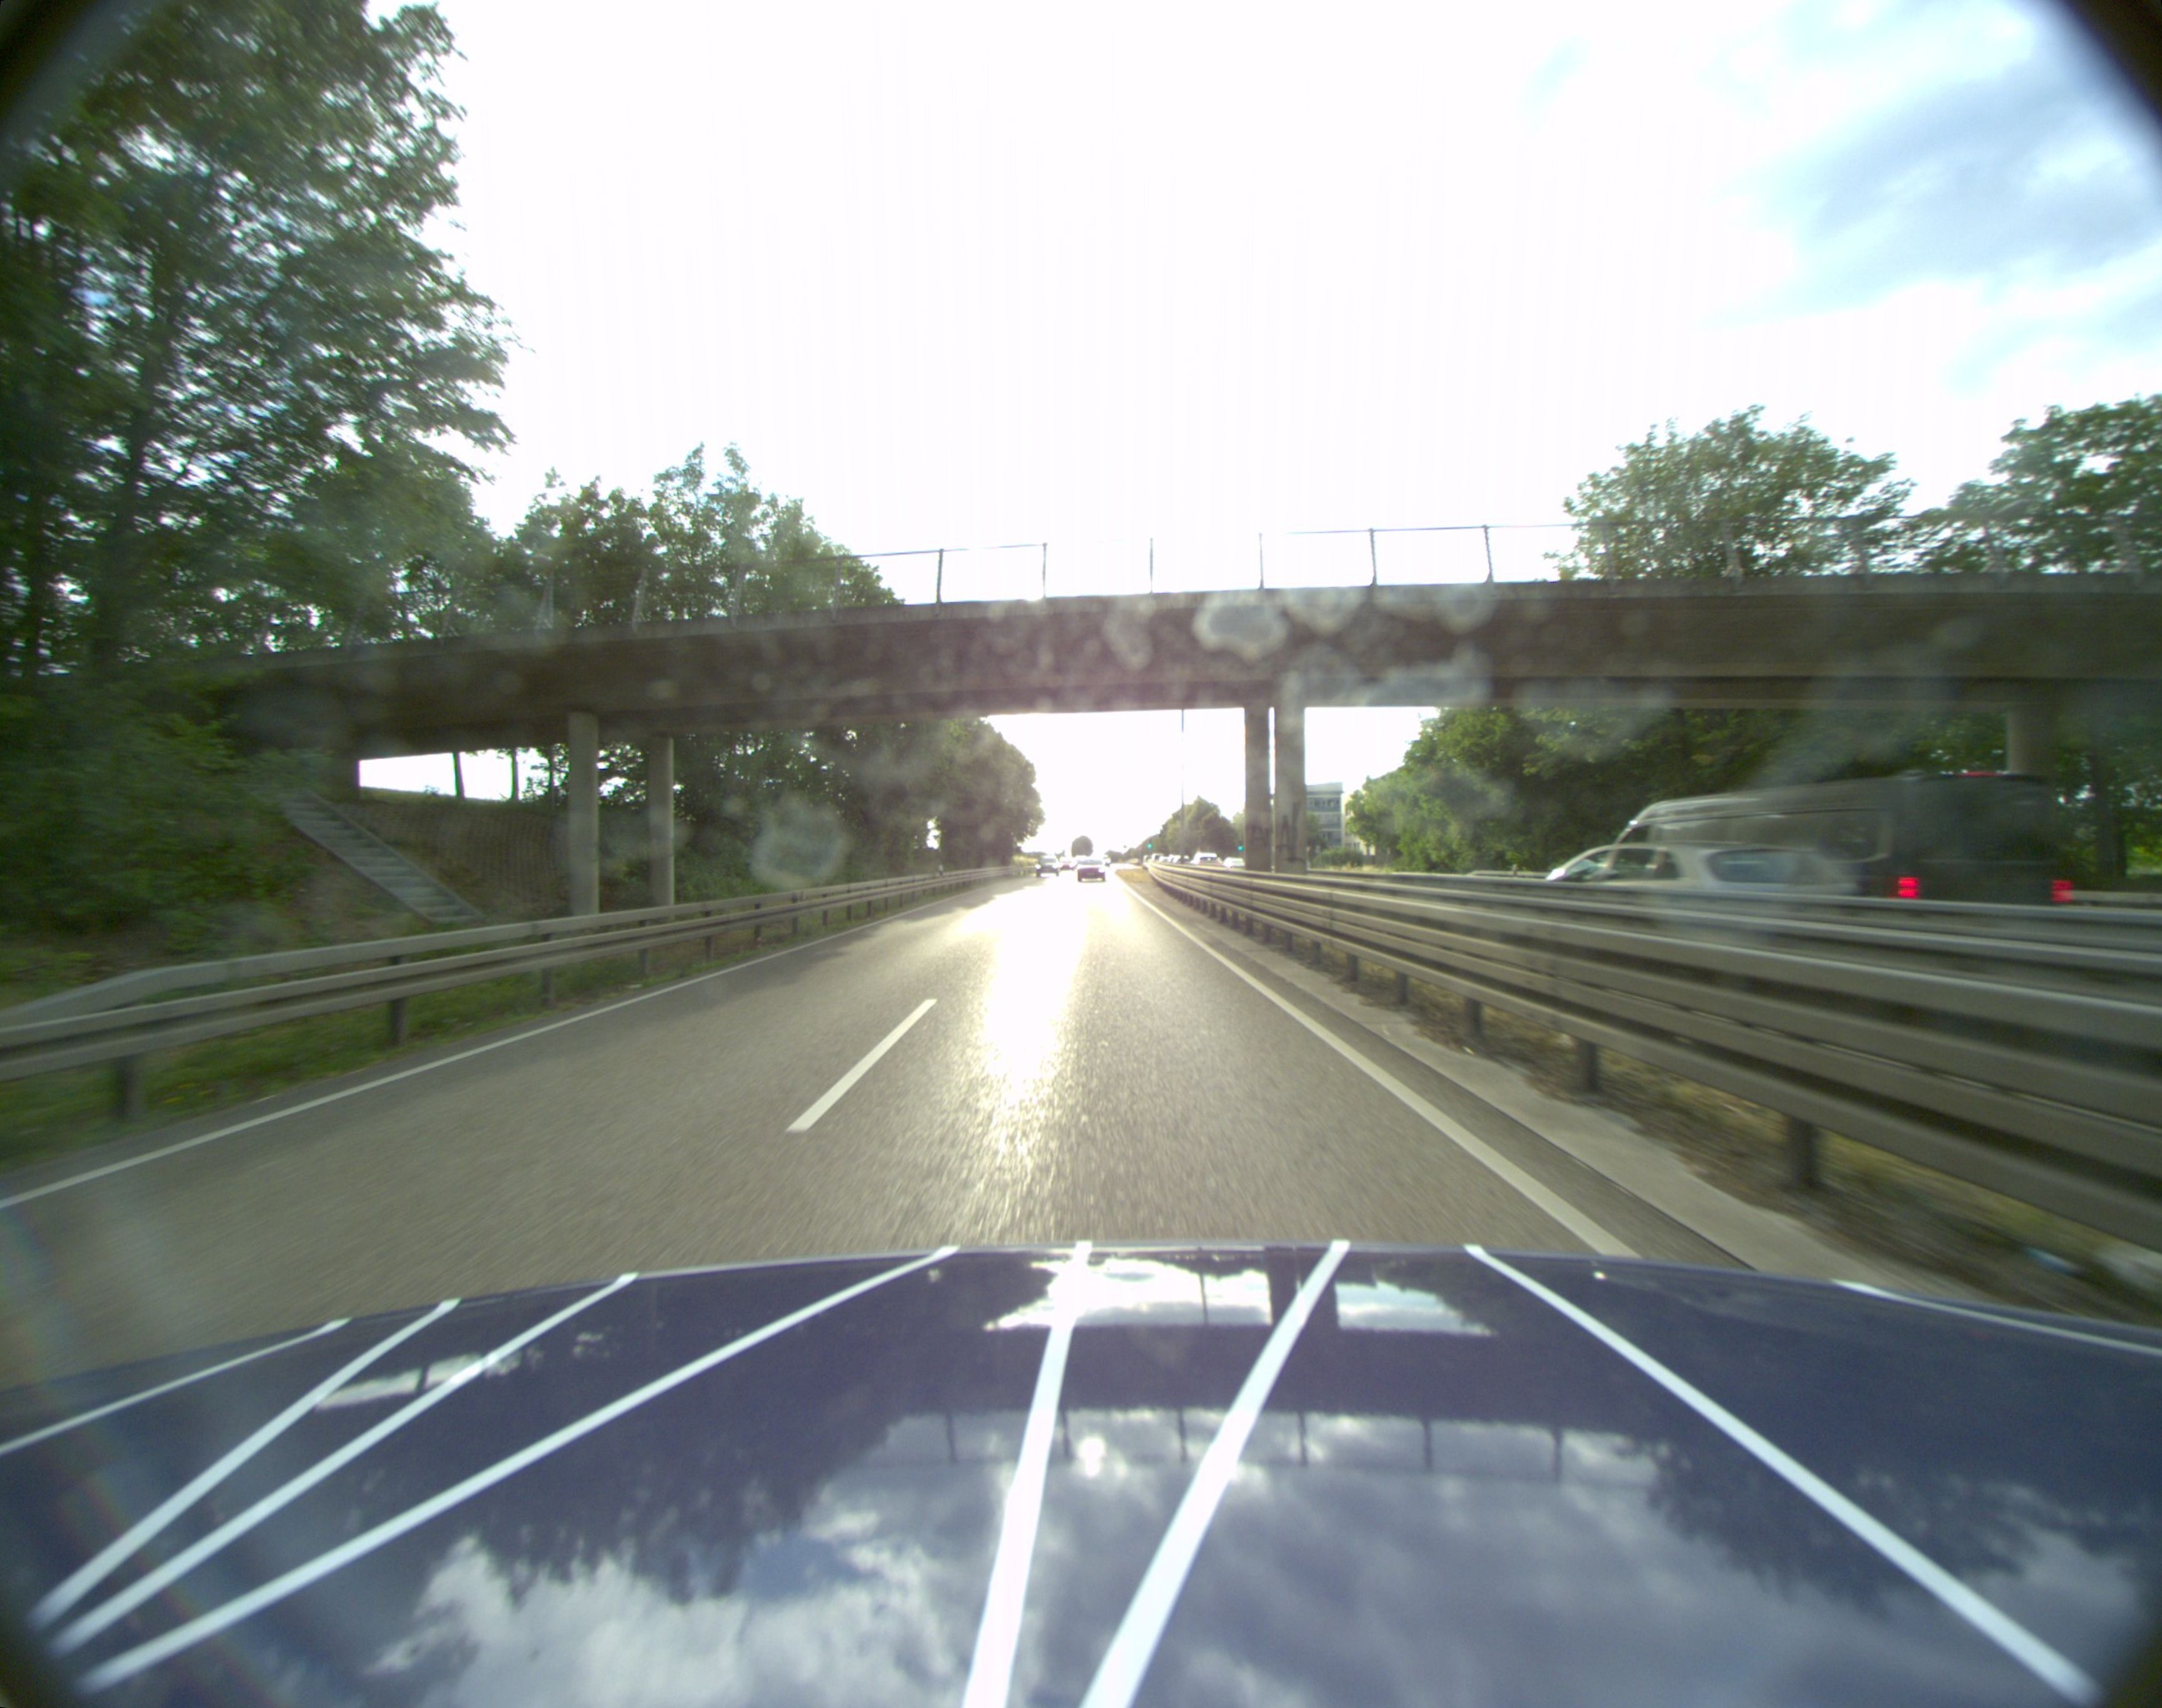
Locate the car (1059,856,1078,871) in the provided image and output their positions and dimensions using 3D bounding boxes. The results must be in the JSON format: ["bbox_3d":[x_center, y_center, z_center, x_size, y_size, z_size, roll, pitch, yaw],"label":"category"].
[{"bbox_3d":[-1.279,0.997,80.869,1.668,1.467,3.867,-2,0,4],"label":"car"}]

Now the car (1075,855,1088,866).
[{"bbox_3d":[0.078,1.016,120.923,1.948,1.652,4.001,-2,0,2],"label":"car"}]

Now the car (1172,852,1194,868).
[{"bbox_3d":[10.036,0.574,74.712,1.722,1.458,3.734,-2,0,1],"label":"car"}]

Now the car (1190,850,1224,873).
[{"bbox_3d":[9.272,0.523,56.355,1.827,1.575,4.791,-2,0,2],"label":"car"}]

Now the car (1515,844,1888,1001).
[{"bbox_3d":[7.167,0.672,9.314,1.610,1.519,3.640,-1,0,0],"label":"car"}]

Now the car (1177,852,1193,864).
[{"bbox_3d":[15.807,0.567,116.137,2.038,1.739,4.846,0,0,3],"label":"car"}]

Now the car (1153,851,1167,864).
[{"bbox_3d":[12.024,0.517,116.494,1.903,1.905,5.051,-1,0,3],"label":"car"}]

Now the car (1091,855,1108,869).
[{"bbox_3d":[2.116,0.867,86.490,1.723,1.493,4.420,-2,-1,3],"label":"car"}]

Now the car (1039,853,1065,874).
[{"bbox_3d":[-2.386,0.792,62.810,1.723,1.657,4.420,-2,0,2],"label":"car"}]

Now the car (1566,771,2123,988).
[{"bbox_3d":[11.198,0.294,12.409,2.255,2.522,6.941,-1,0,2],"label":"car"}]

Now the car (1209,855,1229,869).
[{"bbox_3d":[14.237,0.834,78.414,1.433,1.345,3.310,0,0,0],"label":"car"}]

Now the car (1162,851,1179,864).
[{"bbox_3d":[11.353,0.433,96.714,1.717,1.580,4.554,-2,0,1],"label":"car"}]

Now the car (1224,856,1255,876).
[{"bbox_3d":[13.044,0.959,62.768,1.839,1.527,4.397,2,0,3],"label":"car"}]

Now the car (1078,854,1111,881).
[{"bbox_3d":[0.831,0.774,44.515,1.723,1.467,3.729,-2,0,4],"label":"car"}]

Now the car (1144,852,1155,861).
[{"bbox_3d":[14.355,0.482,159.055,1.939,1.861,5.347,-3,0,2],"label":"car"}]

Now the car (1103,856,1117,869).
[{"bbox_3d":[3.950,1.193,103.707,1.786,1.623,3.866,-3,-1,3],"label":"car"}]
